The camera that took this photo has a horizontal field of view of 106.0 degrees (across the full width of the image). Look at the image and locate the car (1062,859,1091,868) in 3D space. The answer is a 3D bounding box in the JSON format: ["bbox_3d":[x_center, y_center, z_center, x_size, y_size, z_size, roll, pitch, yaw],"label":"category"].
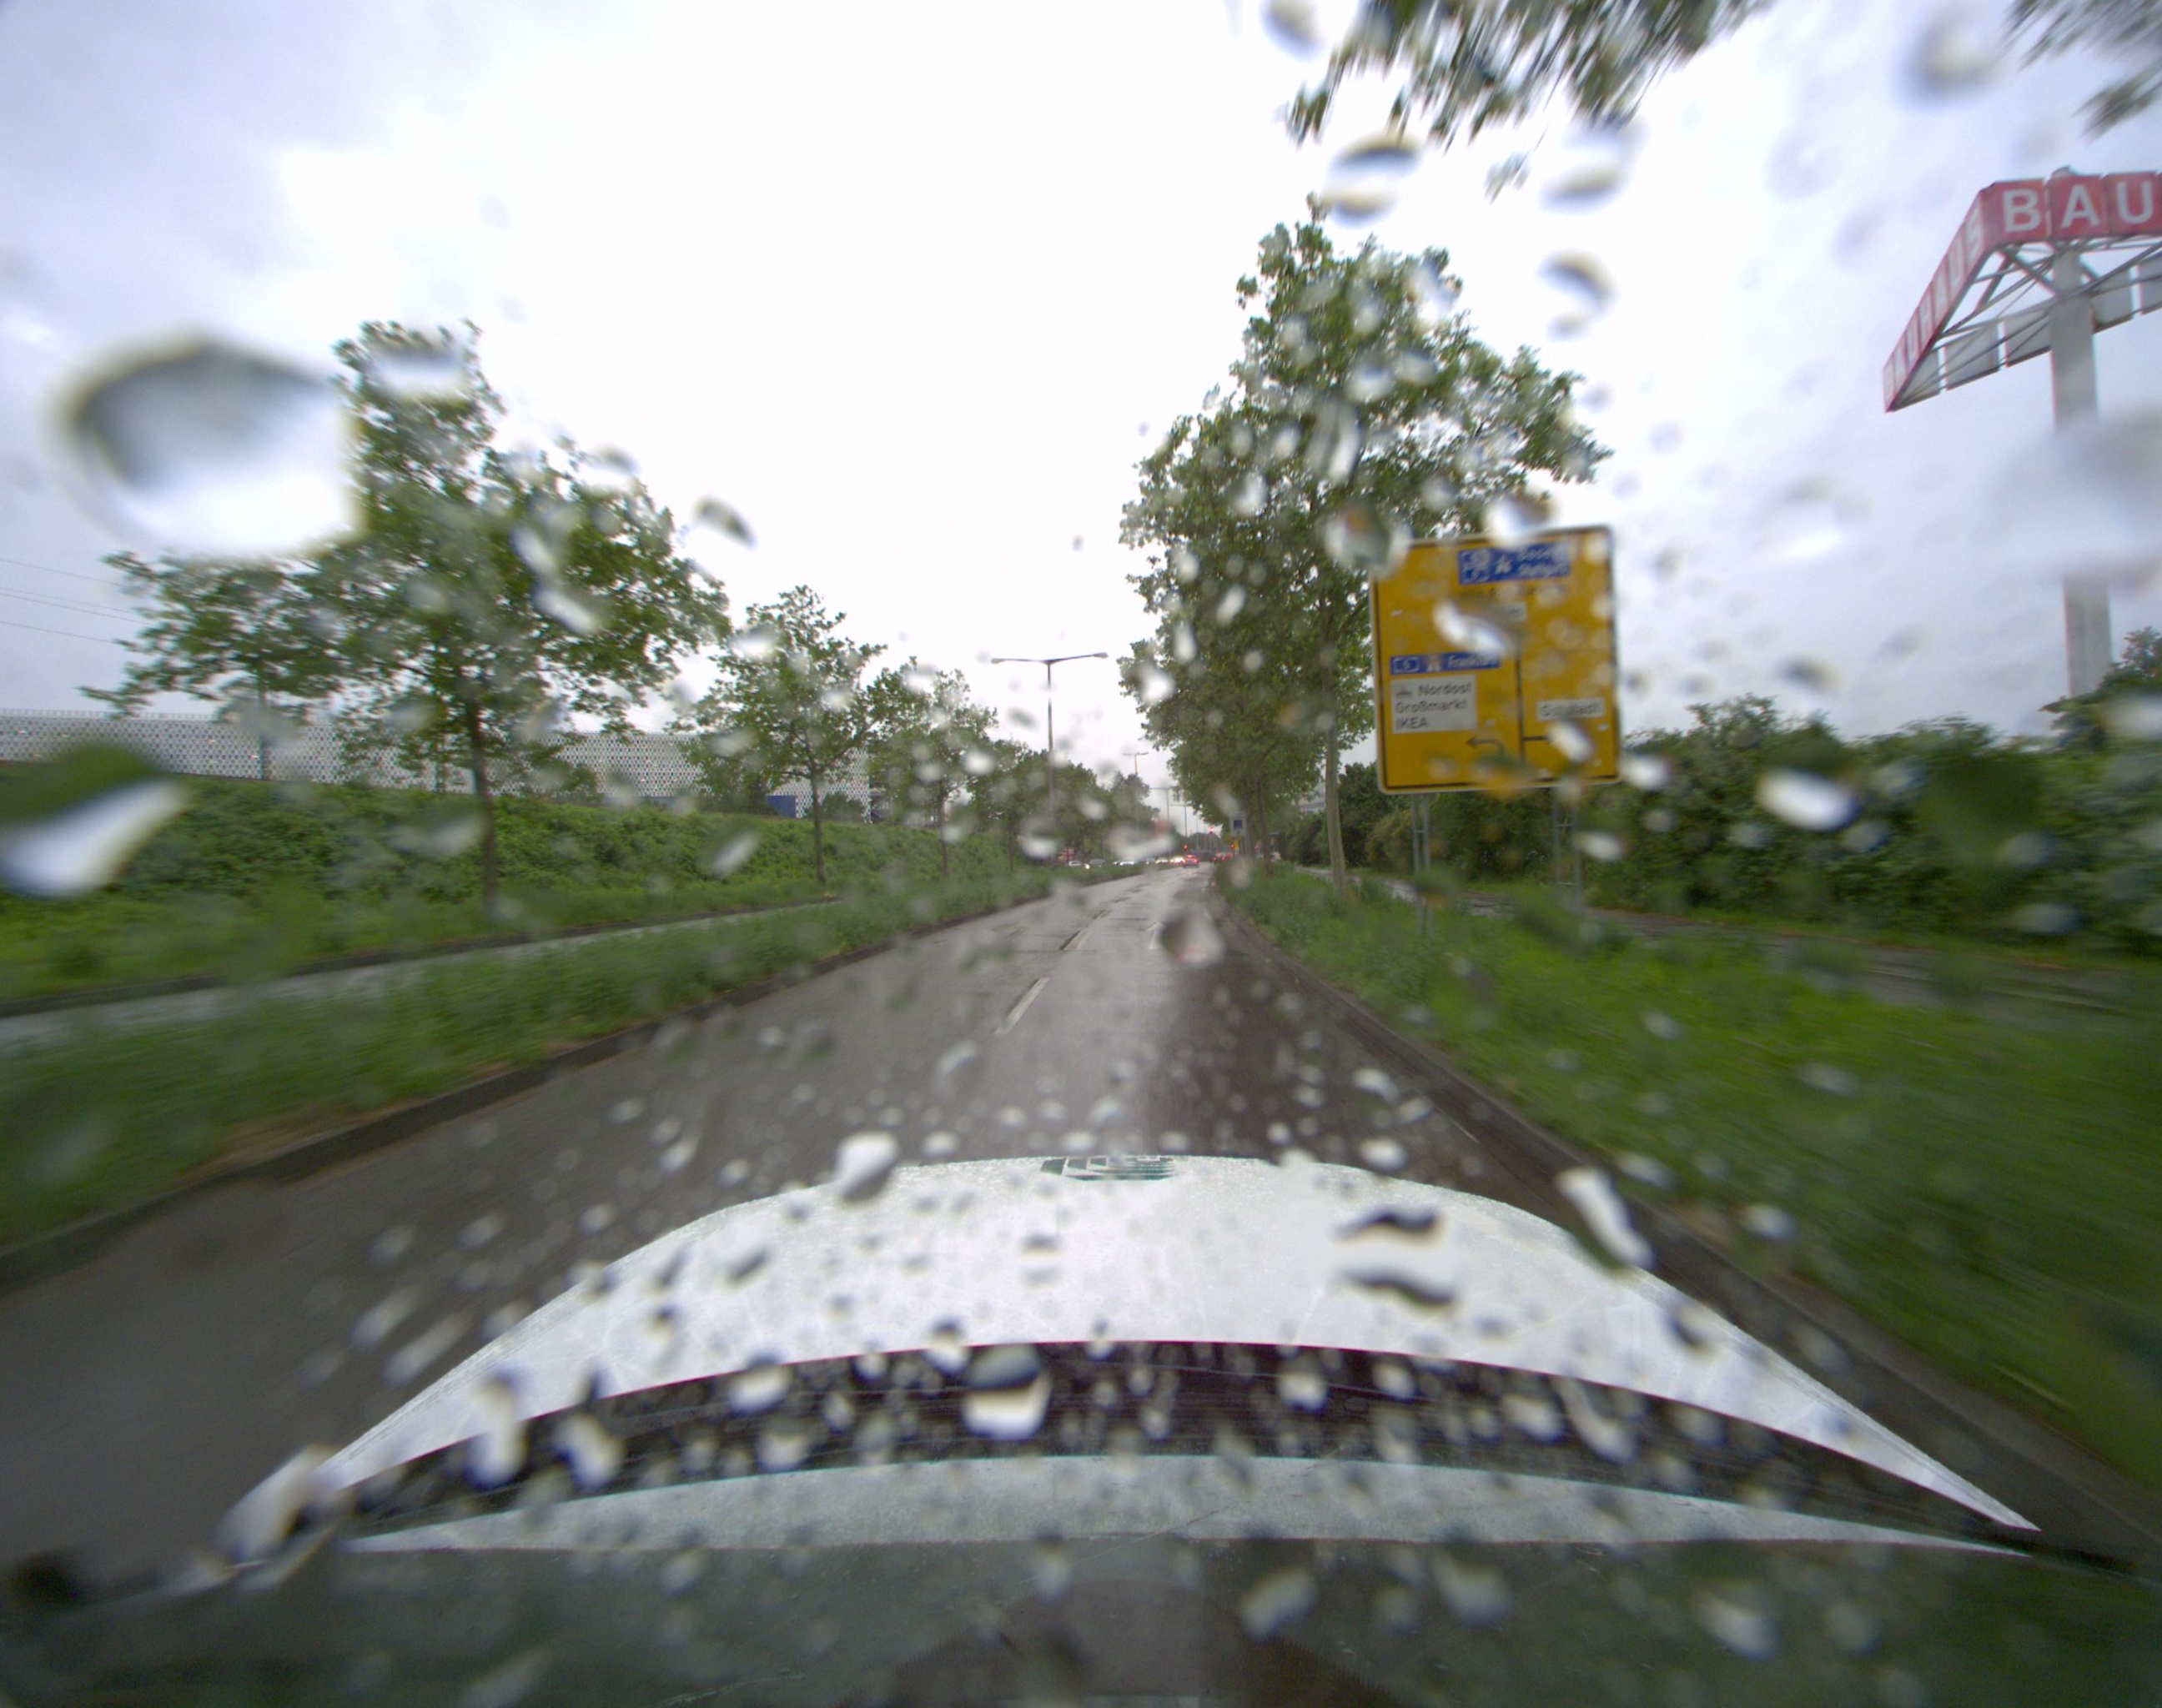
[{"bbox_3d":[-0.774,1.573,139.287,4.638,1.445,1.932,-1,0,-8],"label":"car"}]

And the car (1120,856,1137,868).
[{"bbox_3d":[6.140,0.978,105.764,1.691,1.495,4.216,-1,0,10],"label":"car"}]

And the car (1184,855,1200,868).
[{"bbox_3d":[13.499,0.925,98.928,1.679,1.433,4.588,-2,-1,11],"label":"car"}]

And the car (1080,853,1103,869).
[{"bbox_3d":[1.030,0.689,79.395,1.621,1.426,4.011,-1,0,10],"label":"car"}]

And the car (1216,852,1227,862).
[{"bbox_3d":[22.906,0.451,132.724,1.785,1.537,4.400,-1,0,11],"label":"car"}]

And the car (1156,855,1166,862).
[{"bbox_3d":[17.798,0.974,181.406,1.701,1.530,4.012,-2,-1,11],"label":"car"}]
